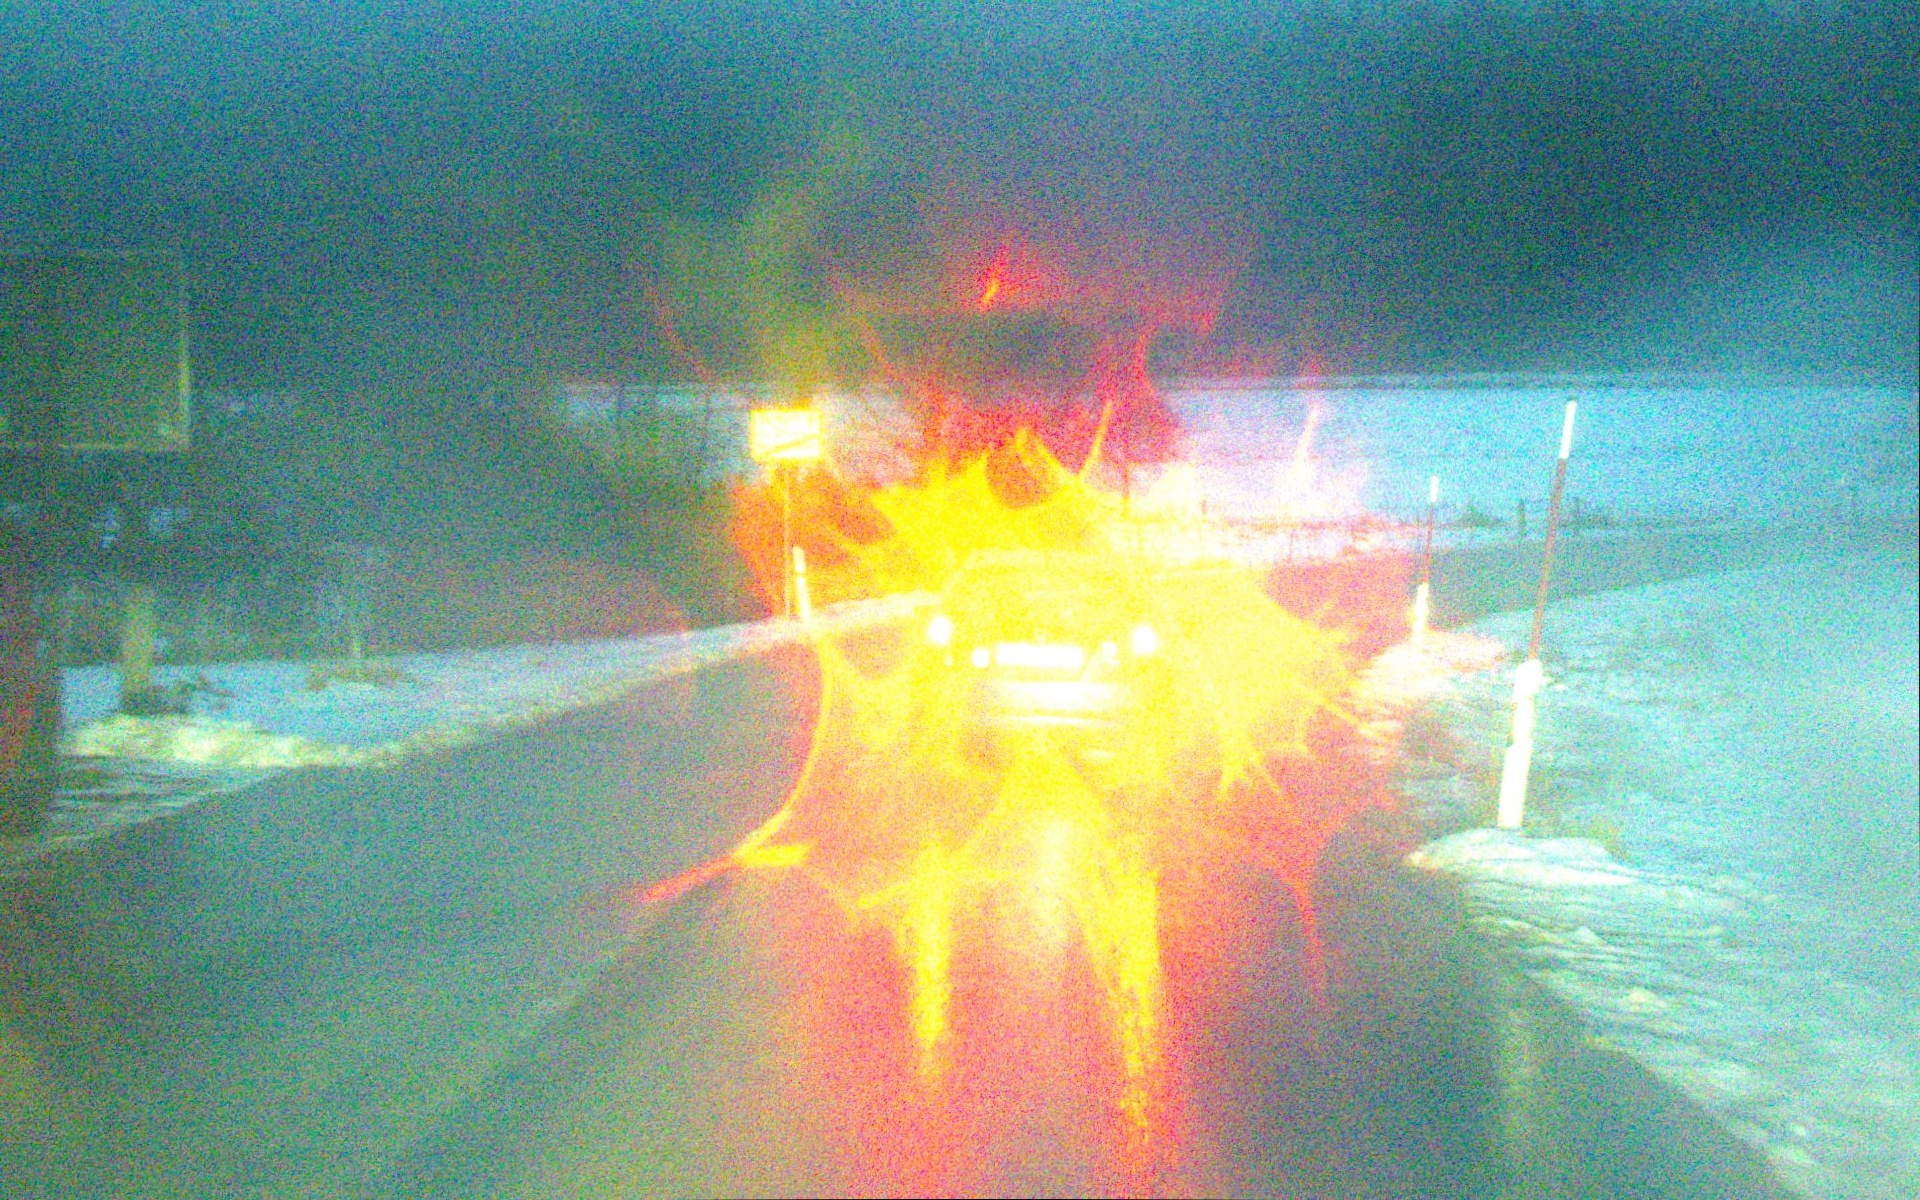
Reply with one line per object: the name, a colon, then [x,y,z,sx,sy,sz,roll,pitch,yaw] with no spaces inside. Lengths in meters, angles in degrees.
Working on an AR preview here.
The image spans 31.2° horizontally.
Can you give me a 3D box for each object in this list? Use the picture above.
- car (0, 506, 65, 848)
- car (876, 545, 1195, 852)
car: [-5.139,0.355,14.699,1.718,1.529,3.517,1,2,0]
car: [0.419,0.589,22.786,1.822,1.790,3.578,3,0,-2]
